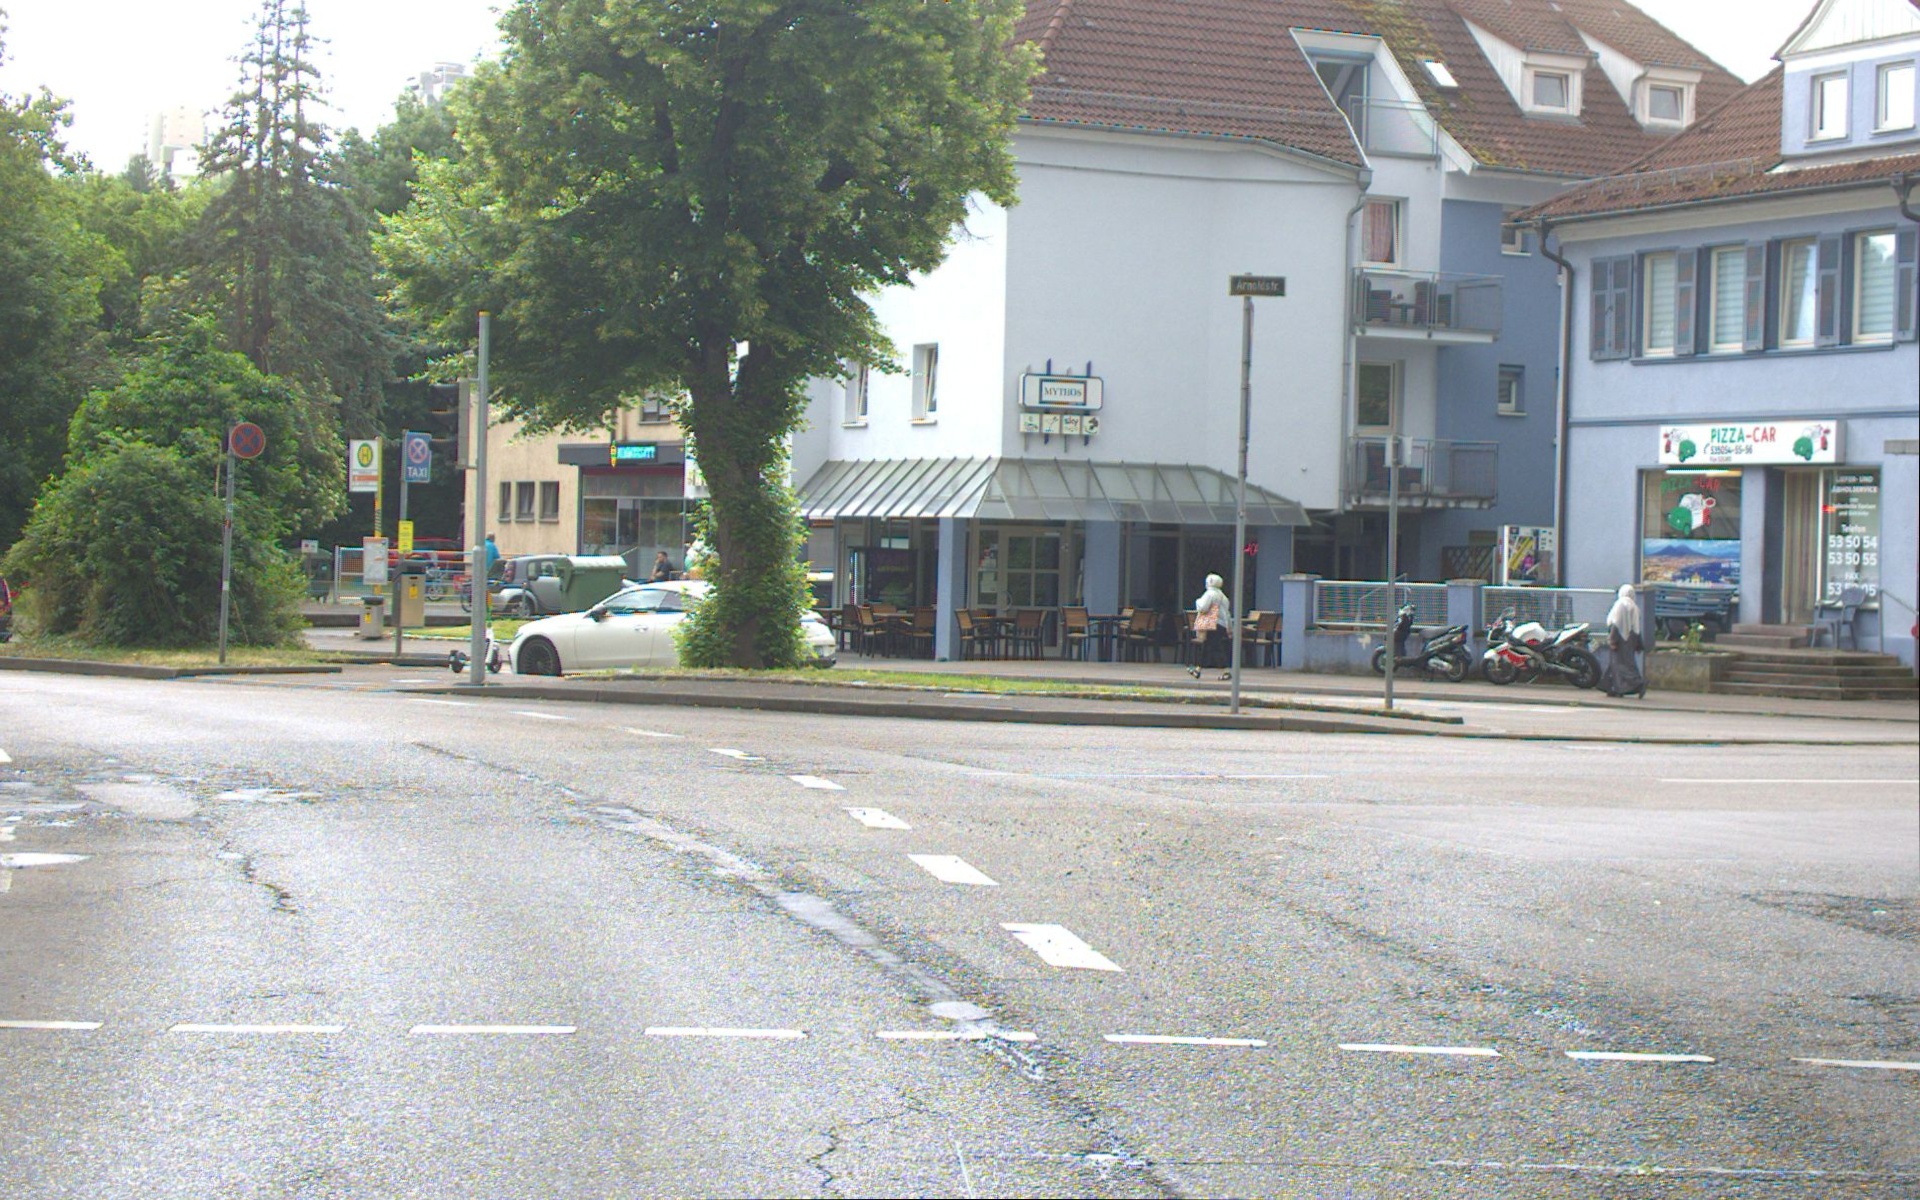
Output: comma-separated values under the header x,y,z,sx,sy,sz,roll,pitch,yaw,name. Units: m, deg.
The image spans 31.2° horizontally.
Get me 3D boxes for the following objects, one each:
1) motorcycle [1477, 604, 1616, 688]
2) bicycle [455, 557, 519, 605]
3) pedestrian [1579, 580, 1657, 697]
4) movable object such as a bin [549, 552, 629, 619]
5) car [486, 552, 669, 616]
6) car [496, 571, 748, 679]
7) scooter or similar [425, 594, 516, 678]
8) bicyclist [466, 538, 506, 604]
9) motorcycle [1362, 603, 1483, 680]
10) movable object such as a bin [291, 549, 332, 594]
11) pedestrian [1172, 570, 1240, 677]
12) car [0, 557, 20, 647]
x,y,z,sx,sy,sz,roll,pitch,yaw,name
8.251,0.637,48.387,1.798,1.118,0.693,2,1,38,motorcycle
-11.225,-0.446,81.586,0.603,1.108,1.577,1,1,33,bicycle
8.849,0.516,46.239,0.768,1.539,0.677,1,1,39,pedestrian
-7.990,-0.317,73.981,1.440,1.404,0.967,1,1,-27,movable object such as a bin
-8.432,-0.358,75.878,3.733,1.340,1.434,1,1,-26,car
-4.537,0.320,46.049,3.171,1.350,1.436,2,1,35,car
-6.065,0.435,42.656,0.417,1.008,1.565,1,1,20,scooter or similar
-11.244,-0.686,81.555,0.599,1.536,0.738,1,1,31,bicyclist
6.745,0.599,50.166,1.636,1.060,0.693,2,1,44,motorcycle
-16.254,-0.723,86.174,0.950,1.111,0.383,1,1,-21,movable object such as a bin
3.605,0.339,50.353,0.707,1.539,0.677,2,1,40,pedestrian
-16.520,-0.008,53.728,3.590,1.389,1.469,2,1,32,car
